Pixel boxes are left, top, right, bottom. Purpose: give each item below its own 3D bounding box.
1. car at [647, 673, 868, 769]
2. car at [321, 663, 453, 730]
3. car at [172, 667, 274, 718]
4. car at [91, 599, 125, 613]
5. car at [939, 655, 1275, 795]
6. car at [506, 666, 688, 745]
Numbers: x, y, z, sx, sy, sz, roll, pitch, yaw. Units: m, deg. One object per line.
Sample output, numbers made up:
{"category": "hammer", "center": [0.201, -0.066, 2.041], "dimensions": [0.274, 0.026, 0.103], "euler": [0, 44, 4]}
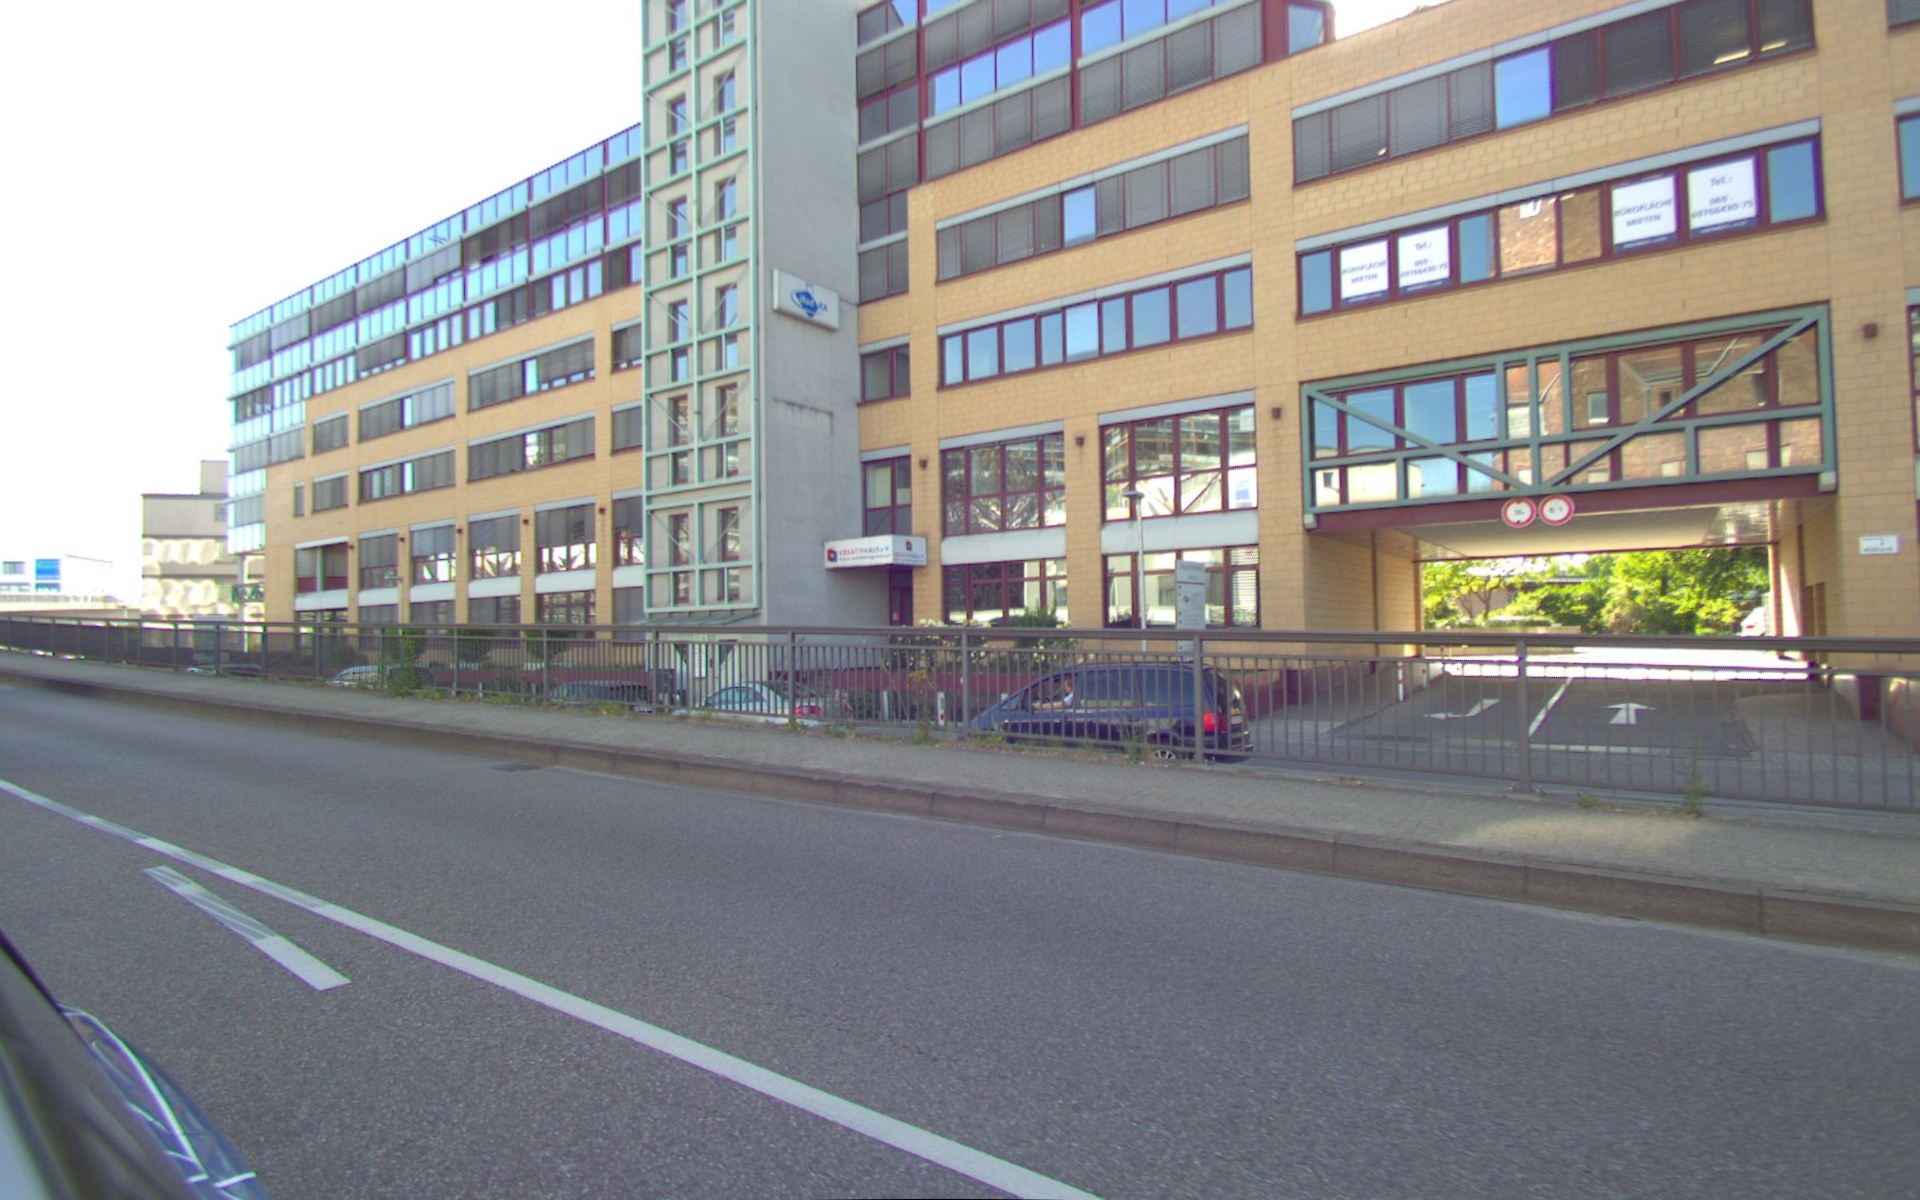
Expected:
{"category": "car", "center": [-4.055, 2.297, 19.964], "dimensions": [4.347, 1.616, 1.804], "euler": [-3, -3, 36]}
{"category": "car", "center": [-16.678, 2.736, 29.408], "dimensions": [3.995, 1.737, 1.974], "euler": [-3, -3, 39]}
{"category": "car", "center": [-26.449, 3.265, 36.299], "dimensions": [3.995, 1.675, 1.974], "euler": [-3, -3, 39]}
{"category": "car", "center": [-101.778, 0.760, 120.906], "dimensions": [1.794, 1.616, 4.013], "euler": [0, -1, -20]}
{"category": "car", "center": [2.156, 1.779, 15.461], "dimensions": [4.676, 1.771, 1.934], "euler": [-3, -2, 34]}
{"category": "car", "center": [-8.373, 2.341, 23.249], "dimensions": [4.347, 1.616, 1.804], "euler": [-3, -3, 36]}
